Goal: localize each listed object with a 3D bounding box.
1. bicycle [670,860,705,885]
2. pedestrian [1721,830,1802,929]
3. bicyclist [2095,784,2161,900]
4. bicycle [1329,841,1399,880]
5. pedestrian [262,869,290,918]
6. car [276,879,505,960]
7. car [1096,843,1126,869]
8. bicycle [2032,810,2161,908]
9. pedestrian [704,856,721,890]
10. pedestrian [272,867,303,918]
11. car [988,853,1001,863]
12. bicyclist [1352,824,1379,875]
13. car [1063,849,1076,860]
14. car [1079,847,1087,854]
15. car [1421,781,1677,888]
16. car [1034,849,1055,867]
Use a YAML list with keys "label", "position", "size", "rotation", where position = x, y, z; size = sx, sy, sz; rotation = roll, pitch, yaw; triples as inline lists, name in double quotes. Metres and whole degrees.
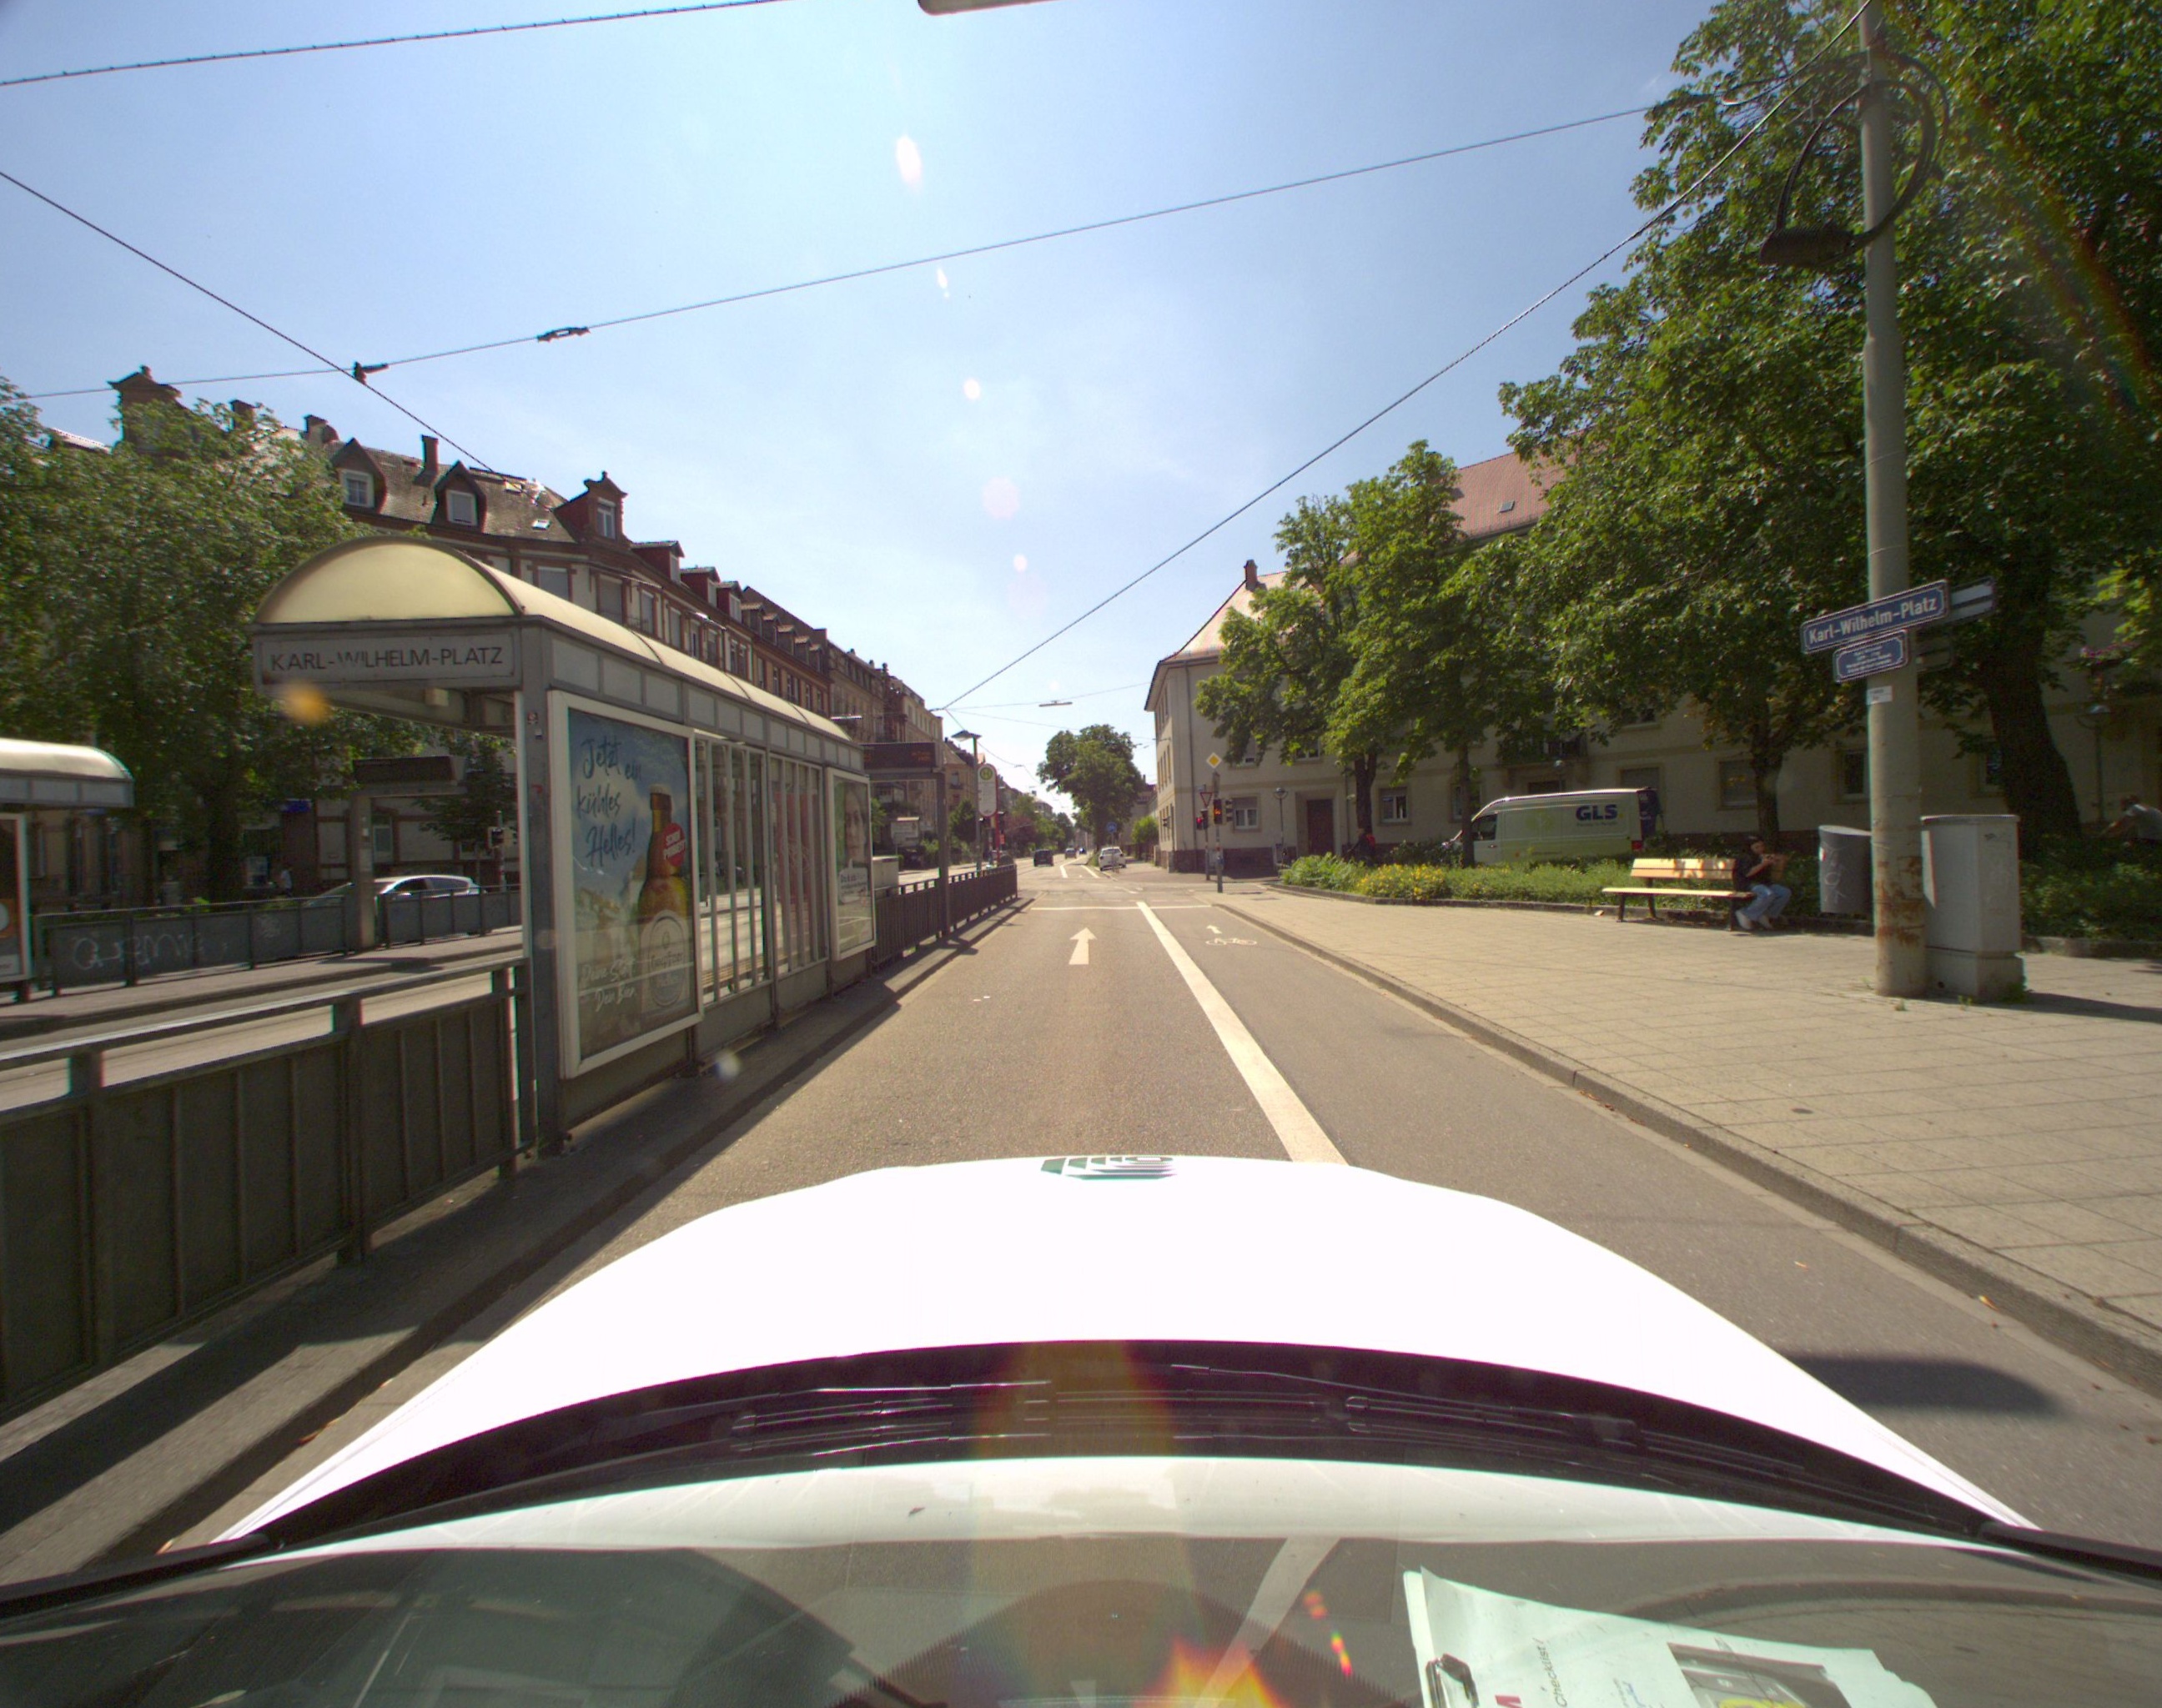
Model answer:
- label: "bicycle"
  position: [-19.742, 0.929, 40.869]
  size: [0.360, 1.169, 1.529]
  rotation: [0, 1, 37]
- label: "pedestrian"
  position: [7.903, 0.286, 9.470]
  size: [0.507, 1.092, 0.479]
  rotation: [-4, 1, 7]
- label: "bicyclist"
  position: [16.805, -0.194, 12.960]
  size: [0.598, 1.799, 0.535]
  rotation: [-2, 0, 7]
- label: "bicycle"
  position: [9.360, 0.214, 26.946]
  size: [2.060, 1.236, 0.584]
  rotation: [-2, 0, 34]
- label: "pedestrian"
  position: [-29.591, 1.434, 29.937]
  size: [0.508, 1.768, 0.525]
  rotation: [-2, 0, -21]
- label: "car"
  position: [-14.016, 1.260, 16.842]
  size: [1.536, 1.338, 3.718]
  rotation: [-2, 0, 0]
- label: "car"
  position: [1.926, 0.129, 53.893]
  size: [1.741, 1.472, 3.938]
  rotation: [-5, 0, 0]
- label: "bicycle"
  position: [16.798, 0.062, 13.118]
  size: [0.588, 1.485, 2.172]
  rotation: [-2, 0, 7]
- label: "pedestrian"
  position: [-17.850, 0.924, 39.444]
  size: [0.657, 1.614, 0.464]
  rotation: [-2, 3, -41]
- label: "pedestrian"
  position: [-28.857, 1.382, 29.628]
  size: [0.565, 1.825, 0.631]
  rotation: [-2, 0, -21]
- label: "car"
  position: [-14.011, 0.621, 132.359]
  size: [1.680, 1.472, 3.936]
  rotation: [-5, 0, -1]
- label: "bicyclist"
  position: [9.399, -0.156, 26.920]
  size: [0.687, 1.646, 0.584]
  rotation: [-2, 0, 34]
- label: "car"
  position: [-1.735, 0.052, 119.644]
  size: [1.741, 1.472, 3.938]
  rotation: [-2, 0, 0]
- label: "car"
  position: [0.535, -0.881, 202.895]
  size: [1.624, 1.472, 3.562]
  rotation: [-5, 0, -1]
- label: "car"
  position: [12.733, -0.448, 22.588]
  size: [2.010, 2.590, 5.783]
  rotation: [-2, 0, -39]
- label: "car"
  position: [-3.176, 0.365, 71.705]
  size: [1.519, 1.444, 3.366]
  rotation: [-4, 0, 1]
